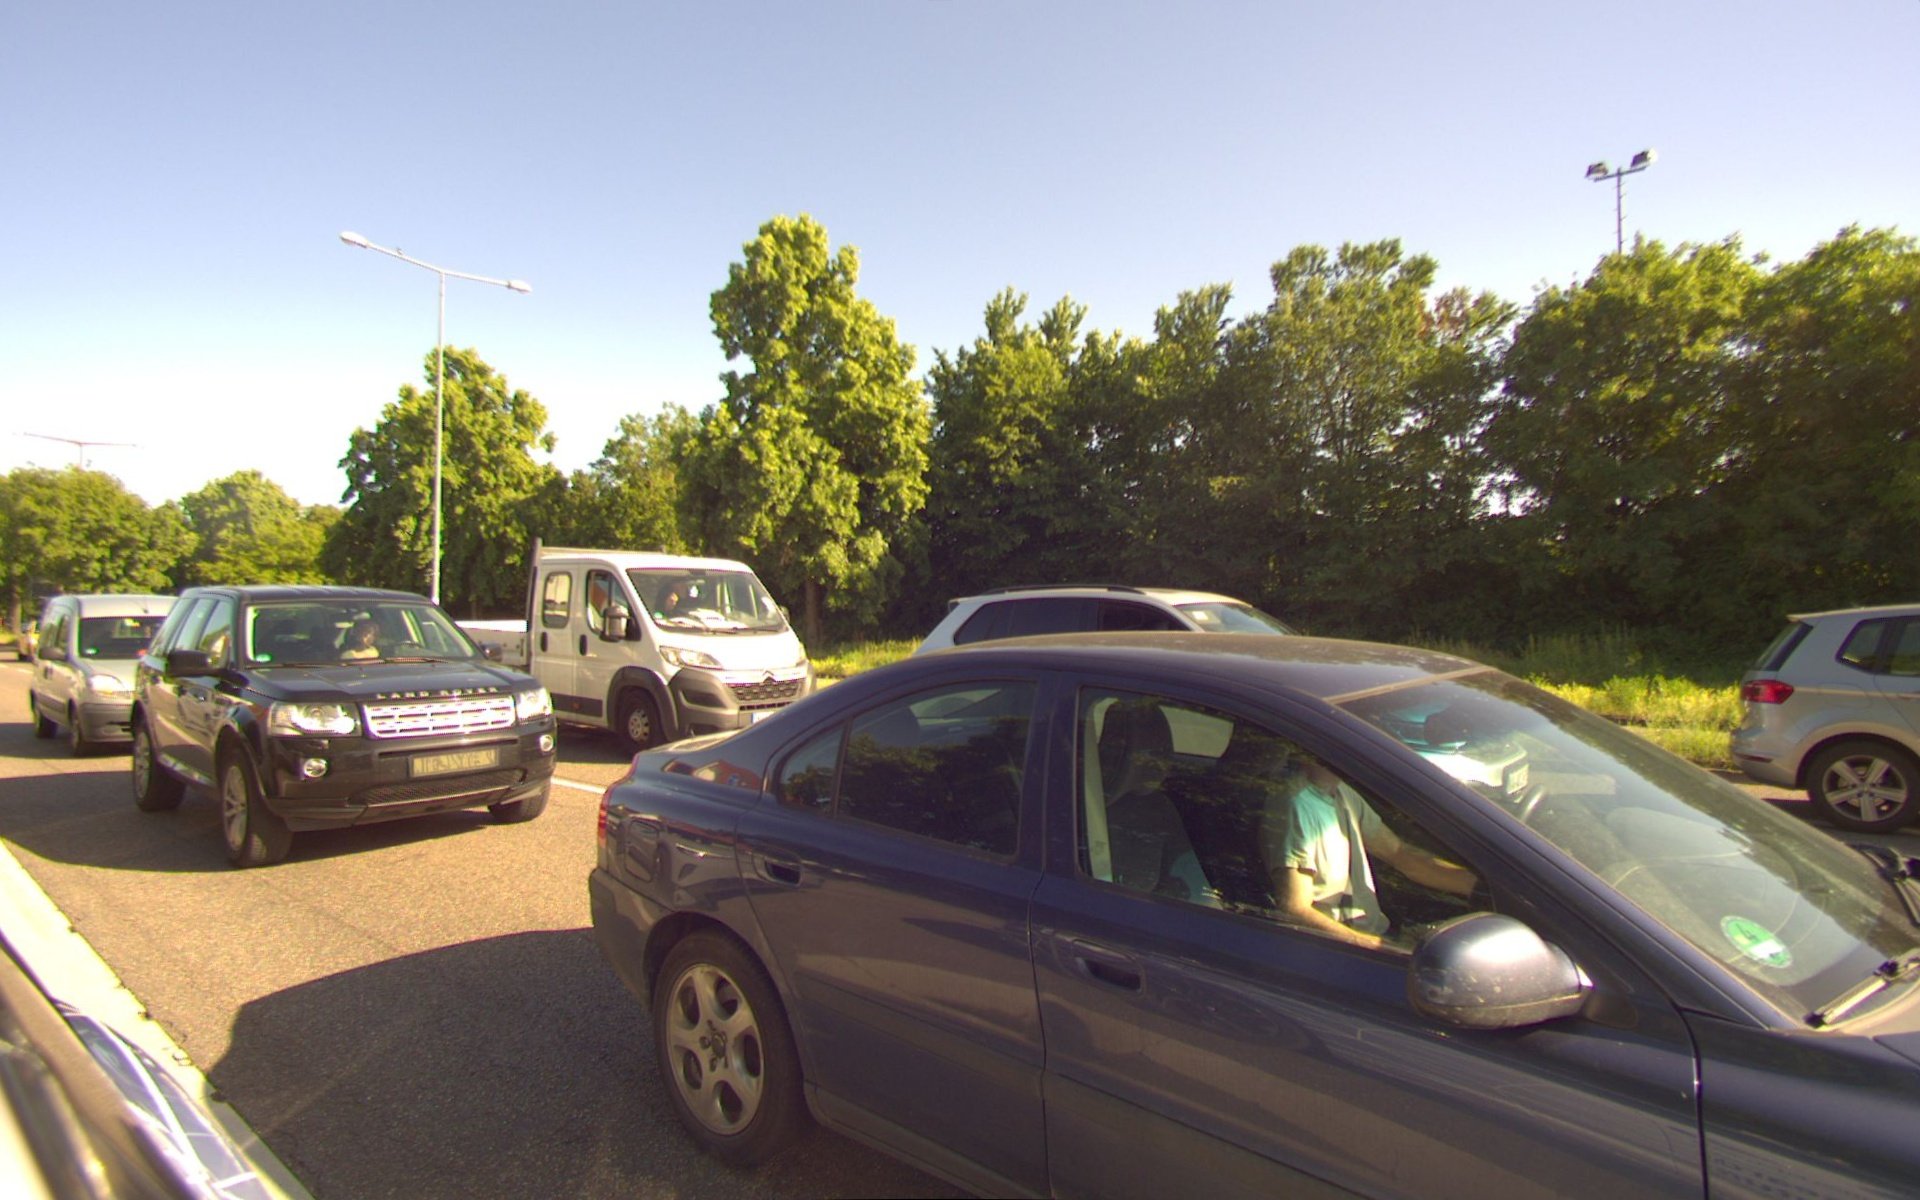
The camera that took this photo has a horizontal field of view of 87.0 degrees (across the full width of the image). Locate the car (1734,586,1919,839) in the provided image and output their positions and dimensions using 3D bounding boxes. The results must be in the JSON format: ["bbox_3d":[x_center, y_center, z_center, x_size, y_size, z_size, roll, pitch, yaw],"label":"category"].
[{"bbox_3d":[7.630,0.724,6.404,4.206,1.623,1.811,-2,-3,42],"label":"car"}]

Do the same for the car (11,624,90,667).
[{"bbox_3d":[-33.385,1.641,37.123,3.929,1.486,1.682,-2,-2,41],"label":"car"}]

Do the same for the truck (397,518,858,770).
[{"bbox_3d":[-4.407,0.443,12.440,6.838,2.337,2.158,-1,-1,40],"label":"truck"}]

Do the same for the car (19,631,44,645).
[{"bbox_3d":[-115.239,4.743,125.559,3.998,1.697,1.854,-2,-3,41],"label":"car"}]

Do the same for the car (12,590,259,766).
[{"bbox_3d":[-10.053,0.802,12.211,4.384,1.765,1.611,-1,-1,41],"label":"car"}]

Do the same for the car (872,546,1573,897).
[{"bbox_3d":[1.621,0.673,7.206,4.422,1.723,1.973,-2,-3,41],"label":"car"}]

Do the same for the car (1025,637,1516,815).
[{"bbox_3d":[3.030,1.122,10.534,4.550,1.440,1.811,-2,-3,41],"label":"car"}]

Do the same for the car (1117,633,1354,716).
[{"bbox_3d":[5.316,1.382,19.874,4.219,1.467,1.624,-2,-3,41],"label":"car"}]

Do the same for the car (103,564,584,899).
[{"bbox_3d":[-4.696,0.707,7.409,4.384,1.744,1.793,-1,-1,41],"label":"car"}]

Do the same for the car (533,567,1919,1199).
[{"bbox_3d":[0.891,0.697,2.415,4.454,1.463,1.757,-1,0,41],"label":"car"}]
